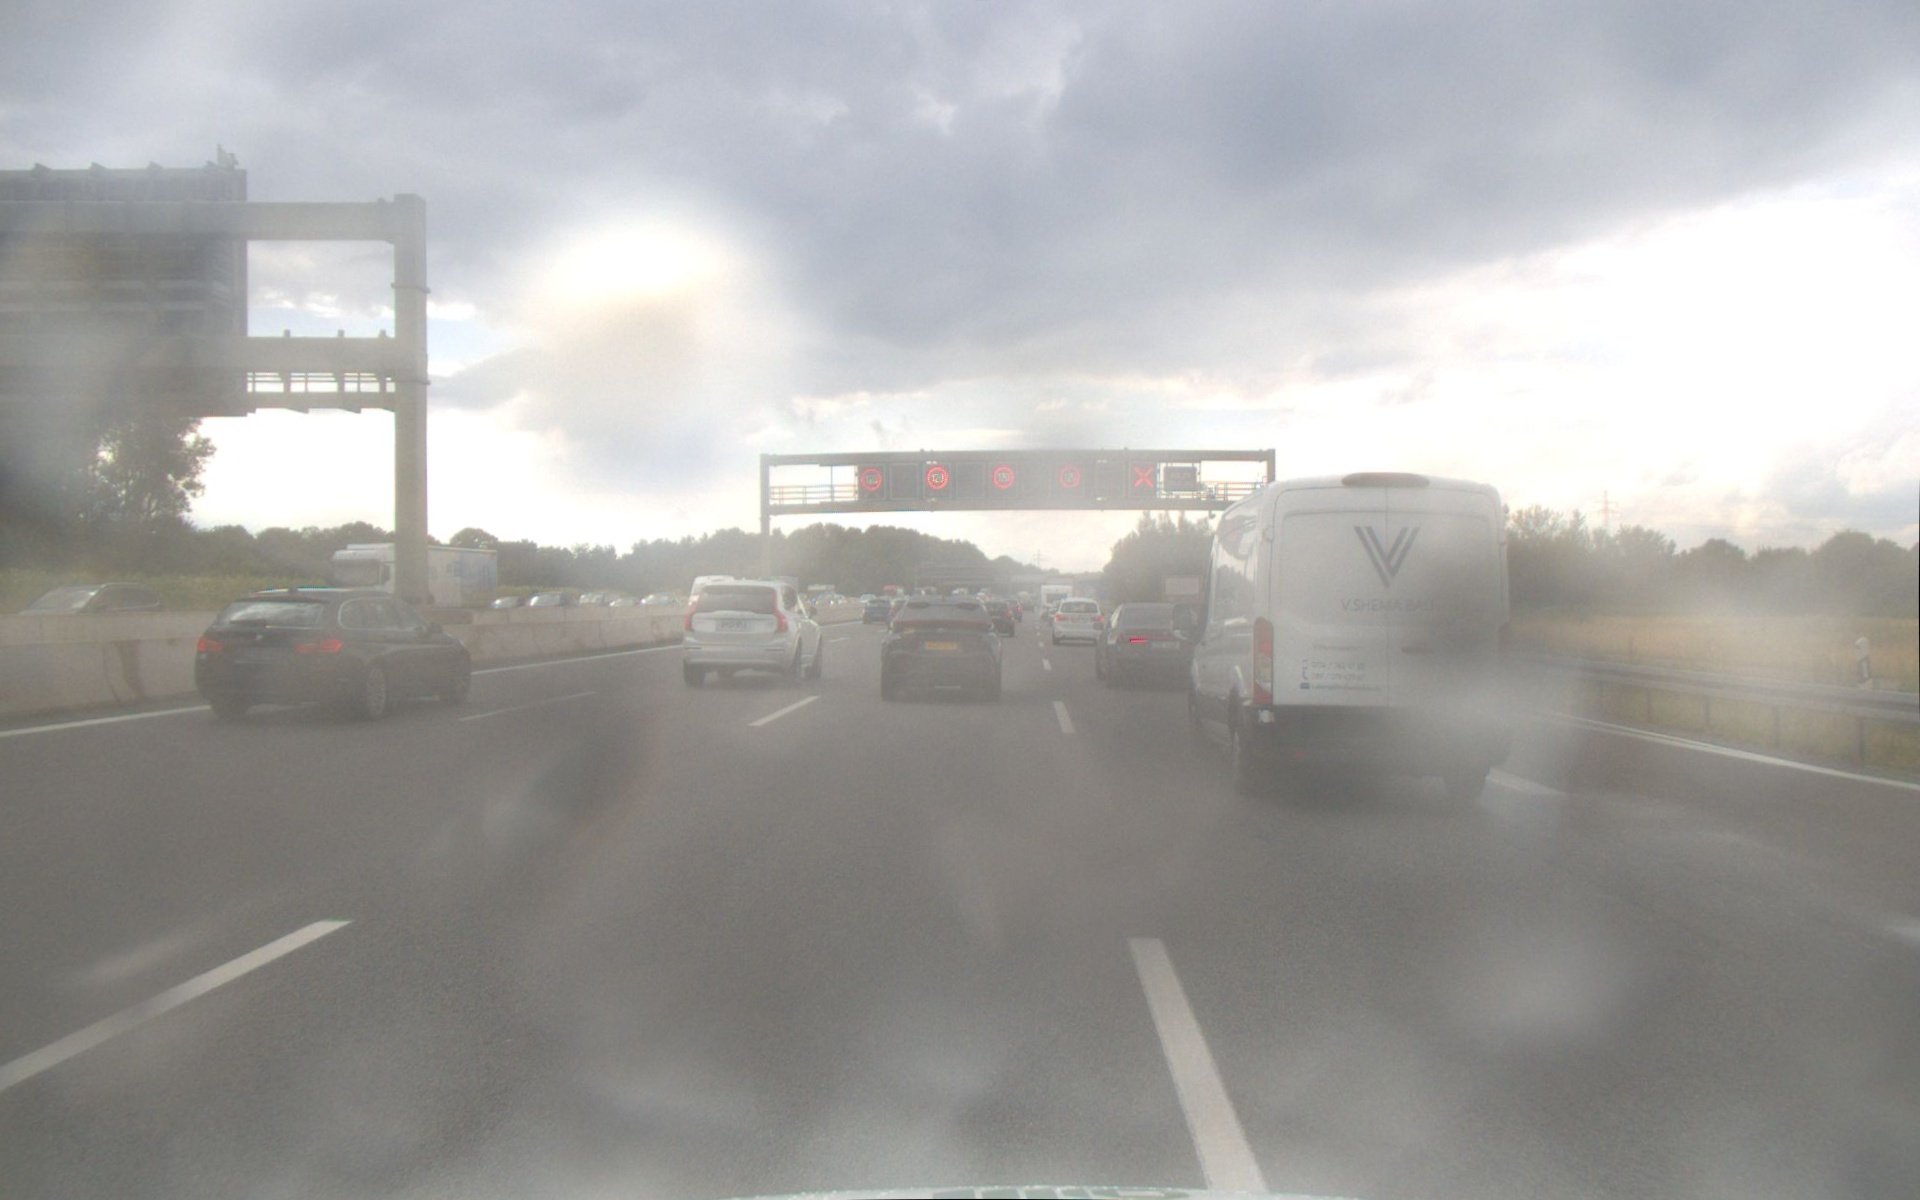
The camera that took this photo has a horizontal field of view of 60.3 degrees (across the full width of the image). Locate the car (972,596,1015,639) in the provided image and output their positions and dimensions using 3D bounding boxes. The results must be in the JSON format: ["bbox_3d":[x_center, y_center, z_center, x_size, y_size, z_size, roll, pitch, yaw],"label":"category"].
[{"bbox_3d":[1.411,0.732,68.879,1.733,1.715,4.001,1,0,2],"label":"car"}]

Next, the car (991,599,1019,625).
[{"bbox_3d":[3.063,0.799,111.859,1.842,1.715,4.001,1,0,2],"label":"car"}]

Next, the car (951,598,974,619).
[{"bbox_3d":[0.231,0.740,143.970,1.842,1.715,4.001,1,0,2],"label":"car"}]

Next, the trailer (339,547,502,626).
[{"bbox_3d":[-26.689,-0.592,82.910,3.045,3.569,14.455,1,0,2],"label":"trailer"}]

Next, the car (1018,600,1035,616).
[{"bbox_3d":[7.697,0.929,190.933,1.842,1.715,4.000,1,0,0],"label":"car"}]

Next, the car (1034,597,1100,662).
[{"bbox_3d":[2.965,0.775,45.108,1.671,1.659,4.459,1,0,5],"label":"car"}]

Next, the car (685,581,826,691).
[{"bbox_3d":[-3.467,0.587,28.799,1.744,1.746,4.354,1,0,2],"label":"car"}]

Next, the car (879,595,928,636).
[{"bbox_3d":[-2.422,0.664,71.926,1.842,1.715,4.001,1,0,2],"label":"car"}]

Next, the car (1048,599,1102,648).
[{"bbox_3d":[4.033,0.803,58.670,1.772,1.627,4.697,1,0,3],"label":"car"}]

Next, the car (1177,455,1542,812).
[{"bbox_3d":[3.247,0.251,14.699,2.095,2.544,5.449,1,0,2],"label":"car"}]

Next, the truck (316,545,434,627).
[{"bbox_3d":[-26.863,-0.606,76.245,3.070,3.569,6.101,1,0,1],"label":"truck"}]

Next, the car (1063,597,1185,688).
[{"bbox_3d":[2.942,0.728,30.581,1.899,1.517,4.776,1,0,2],"label":"car"}]

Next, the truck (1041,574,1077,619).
[{"bbox_3d":[8.830,-0.260,147.384,3.067,3.774,9.851,1,0,3],"label":"truck"}]

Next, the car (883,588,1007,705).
[{"bbox_3d":[-0.253,0.669,25.935,1.744,1.641,4.597,1,0,-1],"label":"car"}]

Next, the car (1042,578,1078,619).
[{"bbox_3d":[7.385,-0.082,122.797,2.513,2.946,7.535,1,0,2],"label":"car"}]

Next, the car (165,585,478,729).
[{"bbox_3d":[-7.459,0.619,19.831,1.743,1.507,4.355,1,0,5],"label":"car"}]

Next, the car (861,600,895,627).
[{"bbox_3d":[-4.577,0.750,92.677,1.531,1.503,3.920,1,0,2],"label":"car"}]

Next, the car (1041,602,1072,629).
[{"bbox_3d":[5.648,0.903,96.327,1.758,1.503,4.039,1,0,4],"label":"car"}]

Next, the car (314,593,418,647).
[{"bbox_3d":[-20.186,0.660,56.376,1.952,1.758,4.018,1,0,1],"label":"car"}]

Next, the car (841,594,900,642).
[{"bbox_3d":[-3.333,0.662,62.026,1.842,1.715,4.001,0,0,2],"label":"car"}]
